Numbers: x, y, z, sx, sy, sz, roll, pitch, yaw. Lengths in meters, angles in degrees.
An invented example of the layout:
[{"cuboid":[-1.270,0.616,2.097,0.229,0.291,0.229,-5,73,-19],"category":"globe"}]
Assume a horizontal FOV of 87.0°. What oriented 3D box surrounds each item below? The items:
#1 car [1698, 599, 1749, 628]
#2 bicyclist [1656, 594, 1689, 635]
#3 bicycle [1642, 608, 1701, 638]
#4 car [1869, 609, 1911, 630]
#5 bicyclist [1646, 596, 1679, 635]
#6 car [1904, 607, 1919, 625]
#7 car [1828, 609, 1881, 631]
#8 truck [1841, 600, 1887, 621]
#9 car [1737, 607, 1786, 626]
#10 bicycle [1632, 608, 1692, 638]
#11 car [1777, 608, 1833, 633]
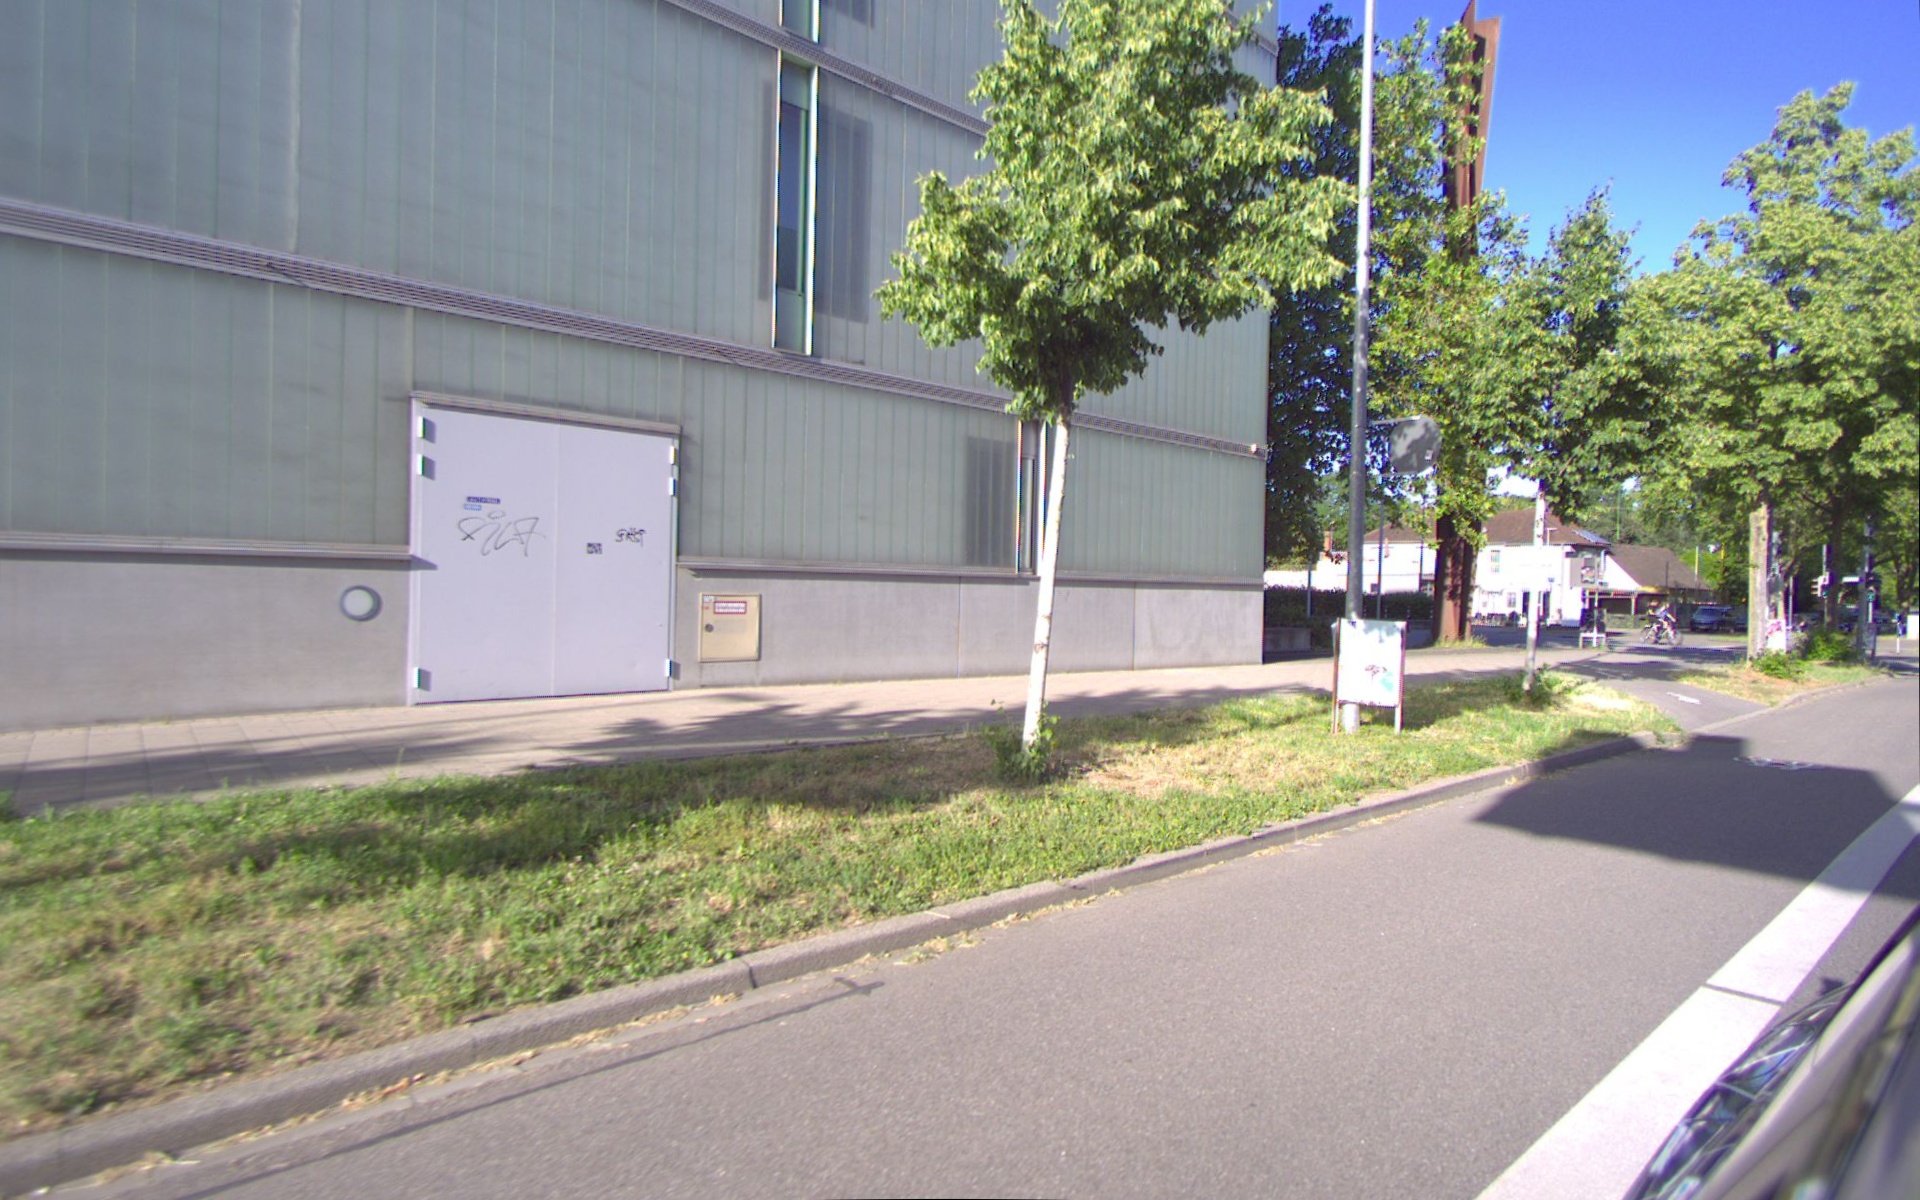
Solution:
[{"cuboid":[58.837,1.051,77.975,4.978,2.062,1.899,1,2,-39],"category":"car"},{"cuboid":[31.345,0.634,44.503,0.815,1.759,0.878,2,0,-29],"category":"bicyclist"},{"cuboid":[31.318,0.998,44.583,0.540,1.219,2.107,2,1,-28],"category":"bicycle"},{"cuboid":[70.504,1.445,76.726,3.978,1.504,1.897,1,0,-41],"category":"car"},{"cuboid":[30.558,0.672,44.039,0.777,1.674,0.878,2,0,-29],"category":"bicyclist"},{"cuboid":[78.409,1.327,82.257,3.843,1.398,1.942,1,0,-39],"category":"car"},{"cuboid":[62.763,1.377,71.006,4.264,1.507,1.899,1,0,-36],"category":"car"},{"cuboid":[93.936,1.107,105.104,6.459,2.101,2.455,1,0,-38],"category":"truck"},{"cuboid":[66.470,1.373,83.911,4.820,1.504,1.900,1,0,-36],"category":"car"},{"cuboid":[30.550,0.989,44.073,0.540,1.219,2.108,2,1,-25],"category":"bicycle"},{"cuboid":[52.189,1.238,62.493,3.962,1.484,1.899,1,0,-38],"category":"car"}]
